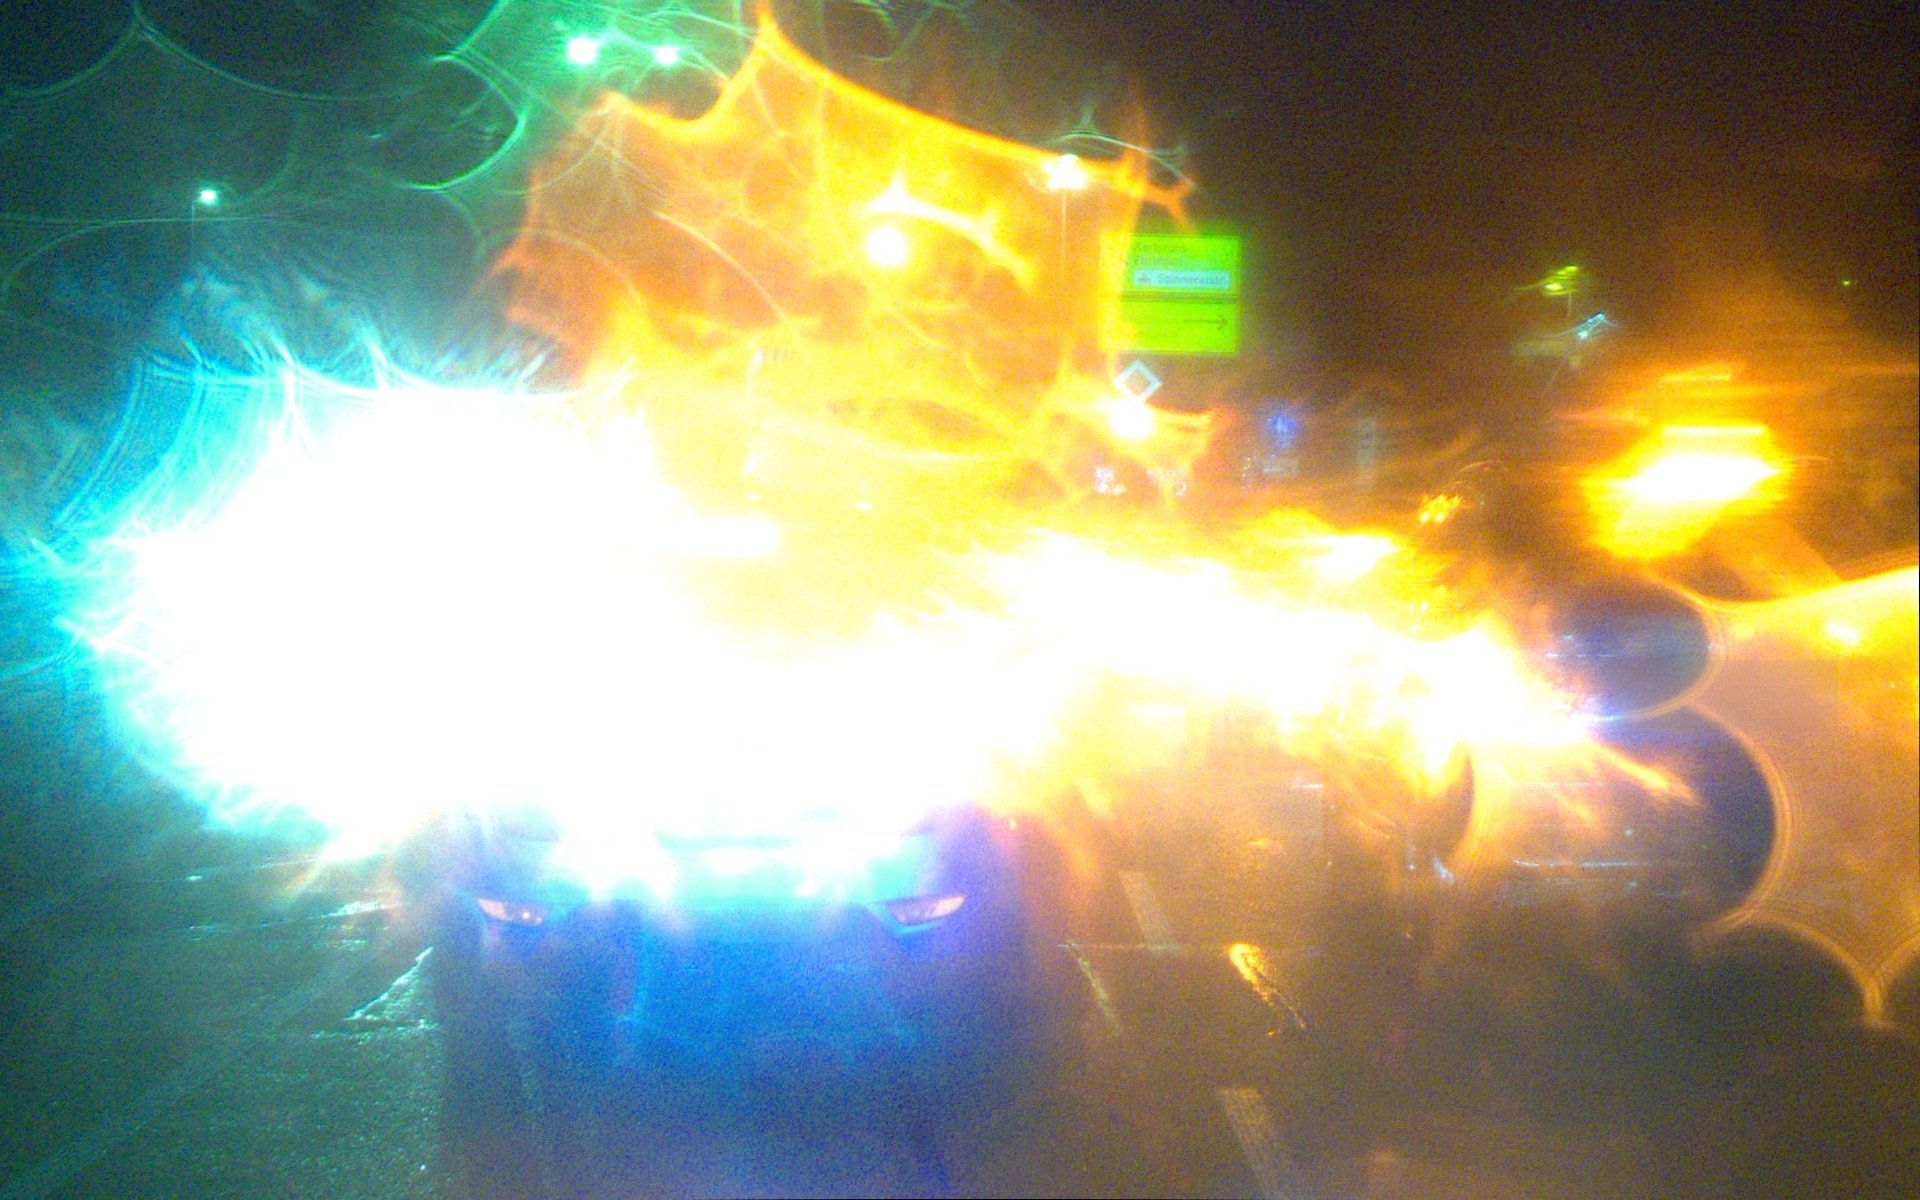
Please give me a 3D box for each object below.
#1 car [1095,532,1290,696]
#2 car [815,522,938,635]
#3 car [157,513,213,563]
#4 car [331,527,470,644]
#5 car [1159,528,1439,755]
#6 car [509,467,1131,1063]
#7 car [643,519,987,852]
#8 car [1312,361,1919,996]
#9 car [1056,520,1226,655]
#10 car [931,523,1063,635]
[{"bbox_3d":[2.158,0.103,32.716,1.663,1.445,4.050,-1,1,1],"label":"car"},{"bbox_3d":[-1.335,-0.365,53.557,1.708,1.632,3.731,-1,2,-4],"label":"car"},{"bbox_3d":[-29.989,-2.407,133.171,1.993,1.905,4.744,0,1,-11],"label":"car"},{"bbox_3d":[-9.551,-0.290,58.994,1.993,1.905,4.744,0,1,-5],"label":"car"},{"bbox_3d":[2.323,0.226,24.440,1.768,1.445,4.218,0,2,3],"label":"car"},{"bbox_3d":[-0.404,0.427,11.369,1.694,1.624,3.853,0,1,-1],"label":"car"},{"bbox_3d":[-0.739,0.392,19.317,1.708,1.632,3.731,-1,2,0],"label":"car"},{"bbox_3d":[2.421,0.184,12.755,1.942,1.965,4.218,0,2,2],"label":"car"},{"bbox_3d":[2.019,-0.178,39.286,1.663,1.445,4.050,0,2,-1],"label":"car"},{"bbox_3d":[0.457,-0.290,46.234,1.663,1.445,4.050,0,1,-1],"label":"car"}]
